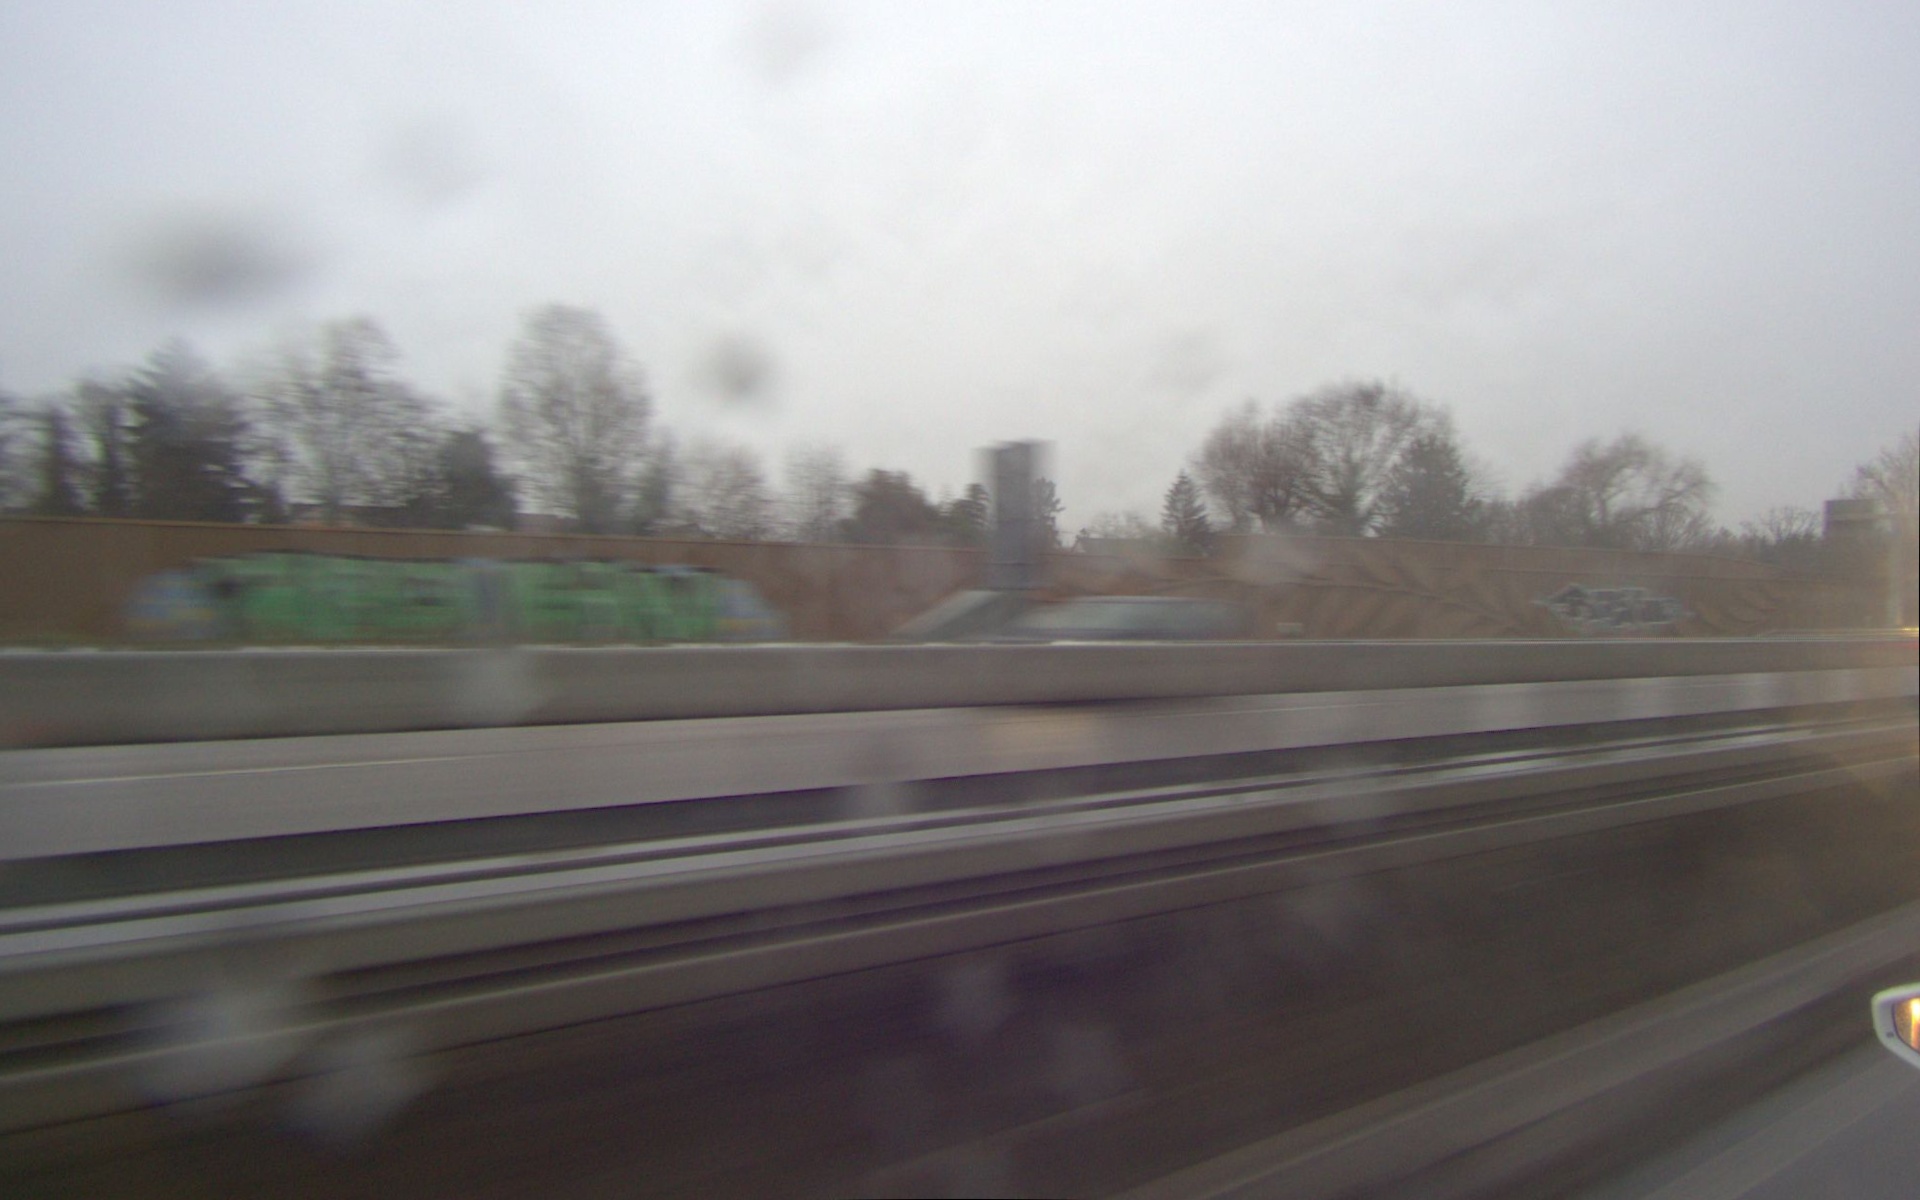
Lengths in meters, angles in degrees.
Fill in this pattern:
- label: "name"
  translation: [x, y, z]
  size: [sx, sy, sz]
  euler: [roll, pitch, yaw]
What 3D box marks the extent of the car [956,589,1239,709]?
- label: "car"
  translation: [1.938, 0.630, 13.937]
  size: [3.640, 1.460, 1.688]
  euler: [1, 0, -31]
